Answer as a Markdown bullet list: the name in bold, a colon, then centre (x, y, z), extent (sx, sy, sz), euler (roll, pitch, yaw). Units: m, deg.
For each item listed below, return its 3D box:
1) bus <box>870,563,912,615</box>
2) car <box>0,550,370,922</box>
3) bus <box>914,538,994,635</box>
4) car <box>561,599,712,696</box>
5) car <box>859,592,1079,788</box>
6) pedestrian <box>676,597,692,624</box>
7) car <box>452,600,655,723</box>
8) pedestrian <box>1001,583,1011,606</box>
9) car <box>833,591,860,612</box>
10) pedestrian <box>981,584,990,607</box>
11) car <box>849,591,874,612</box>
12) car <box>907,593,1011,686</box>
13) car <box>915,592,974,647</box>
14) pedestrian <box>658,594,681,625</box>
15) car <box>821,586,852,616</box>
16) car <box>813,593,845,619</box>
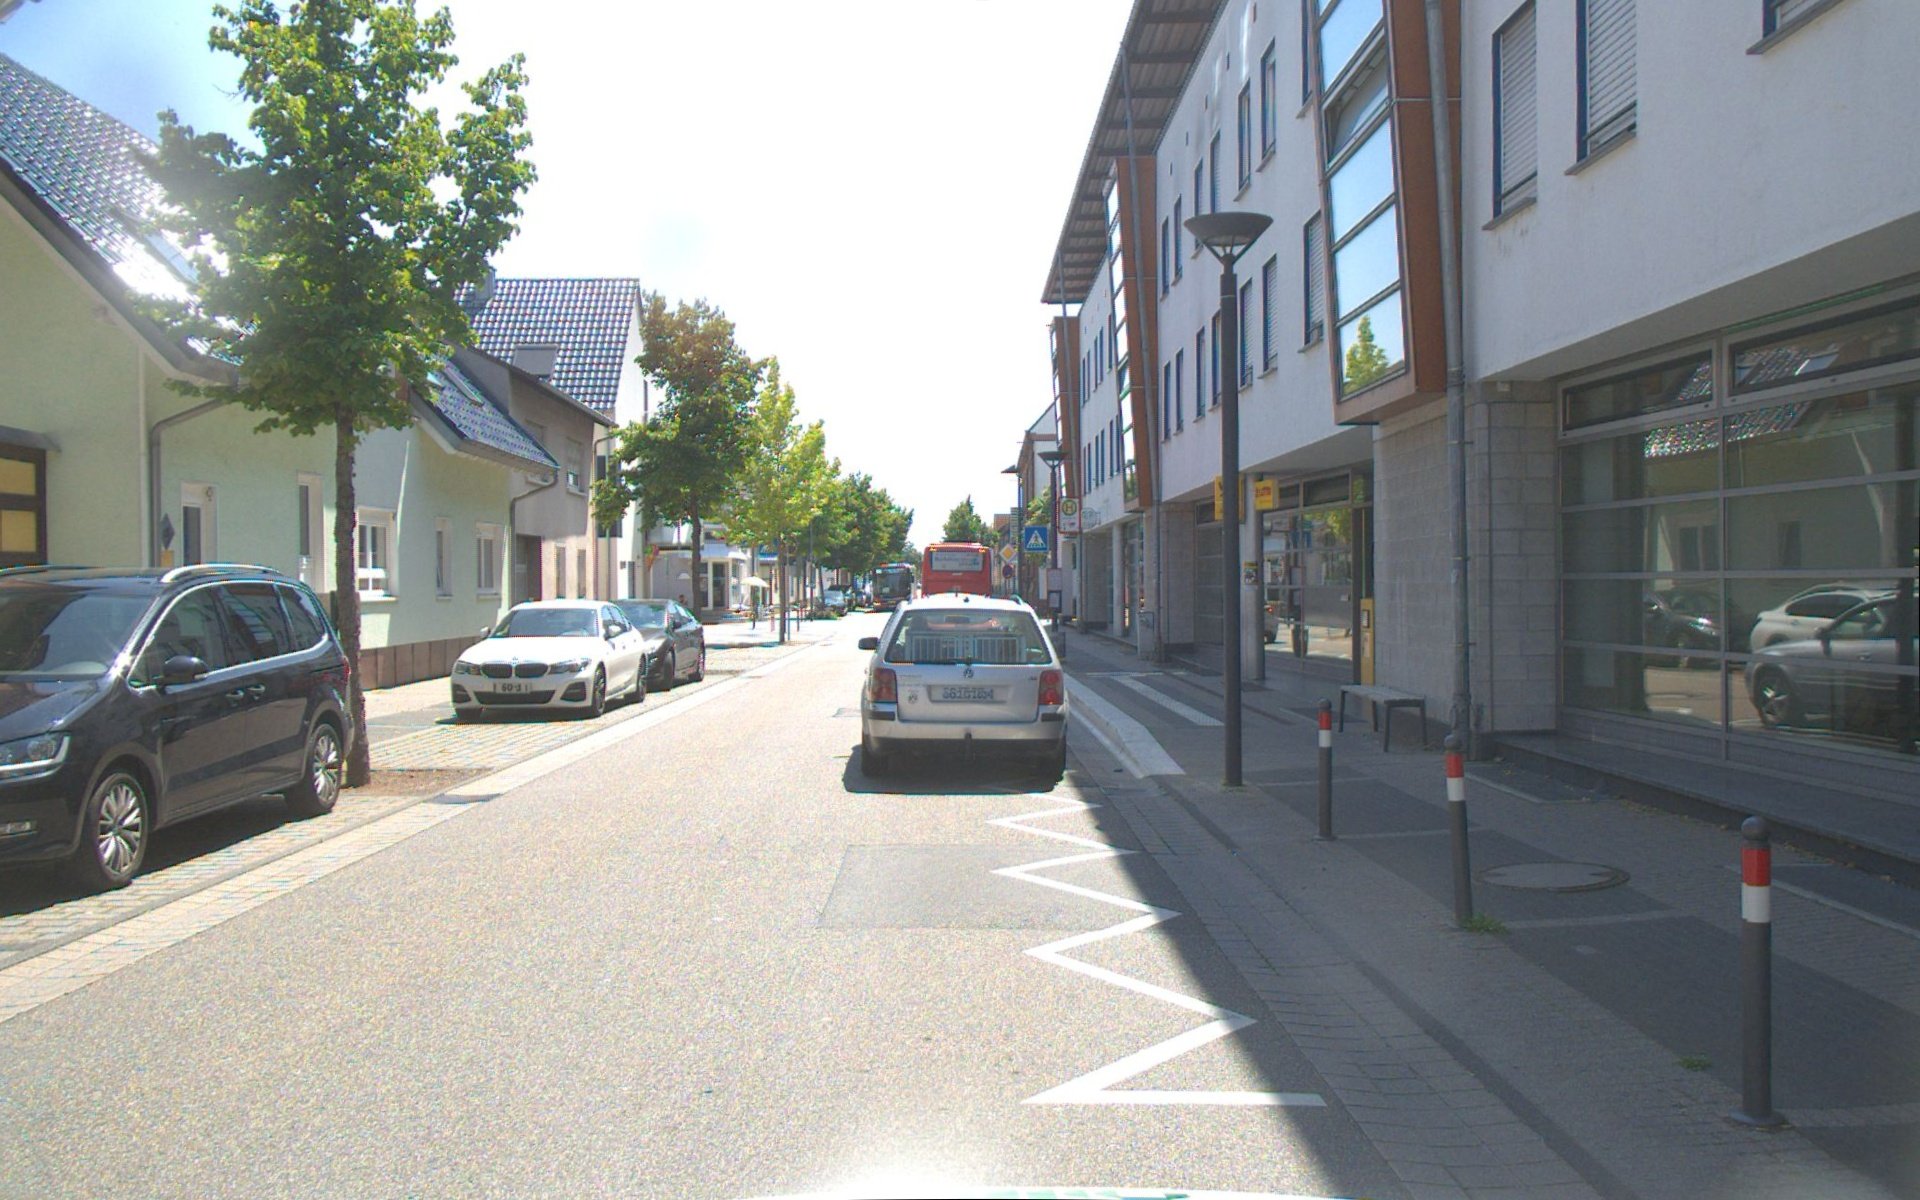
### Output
- **bus**: centre (-4.857, -0.898, 114.867), extent (2.615, 3.178, 17.799), euler (-1, 2, -3)
- **car**: centre (-5.250, 0.640, 10.070), extent (1.739, 1.756, 4.519), euler (-1, 0, -1)
- **bus**: centre (-0.381, -0.485, 63.932), extent (2.685, 3.356, 12.699), euler (0, 0, -2)
- **car**: centre (-5.325, 0.730, 27.777), extent (1.626, 1.462, 4.538), euler (-1, 0, 0)
- **car**: centre (0.046, 0.676, 14.462), extent (1.643, 1.455, 3.679), euler (1, 0, -1)
- **pedestrian**: centre (-12.181, 0.469, 72.963), extent (0.610, 1.199, 0.696), euler (-1, 0, -5)
- **car**: centre (-5.310, 0.736, 22.178), extent (1.685, 1.462, 4.459), euler (0, 0, -1)
- **pedestrian**: centre (3.321, -0.408, 119.525), extent (0.594, 1.696, 0.789), euler (-1, 0, -2)
- **car**: centre (-8.426, 0.102, 123.294), extent (1.774, 1.586, 3.999), euler (-1, 0, -1)
- **pedestrian**: centre (1.895, -0.357, 124.131), extent (0.594, 1.696, 0.789), euler (-1, 0, -2)
- **car**: centre (-7.703, 0.108, 129.598), extent (1.774, 1.586, 3.999), euler (-1, 0, -1)
- **car**: centre (-0.047, 0.624, 28.518), extent (1.643, 1.455, 3.679), euler (2, 0, -1)
- **car**: centre (-0.411, 0.522, 46.549), extent (1.561, 1.455, 3.679), euler (1, 0, 0)
- **pedestrian**: centre (-12.560, 0.411, 71.489), extent (0.631, 1.311, 0.777), euler (2, 0, -44)
- **car**: centre (-8.066, 0.044, 108.289), extent (1.729, 1.870, 3.788), euler (-1, 0, -1)
- **car**: centre (-7.615, 0.346, 96.406), extent (1.572, 1.463, 4.064), euler (-1, 0, -1)
